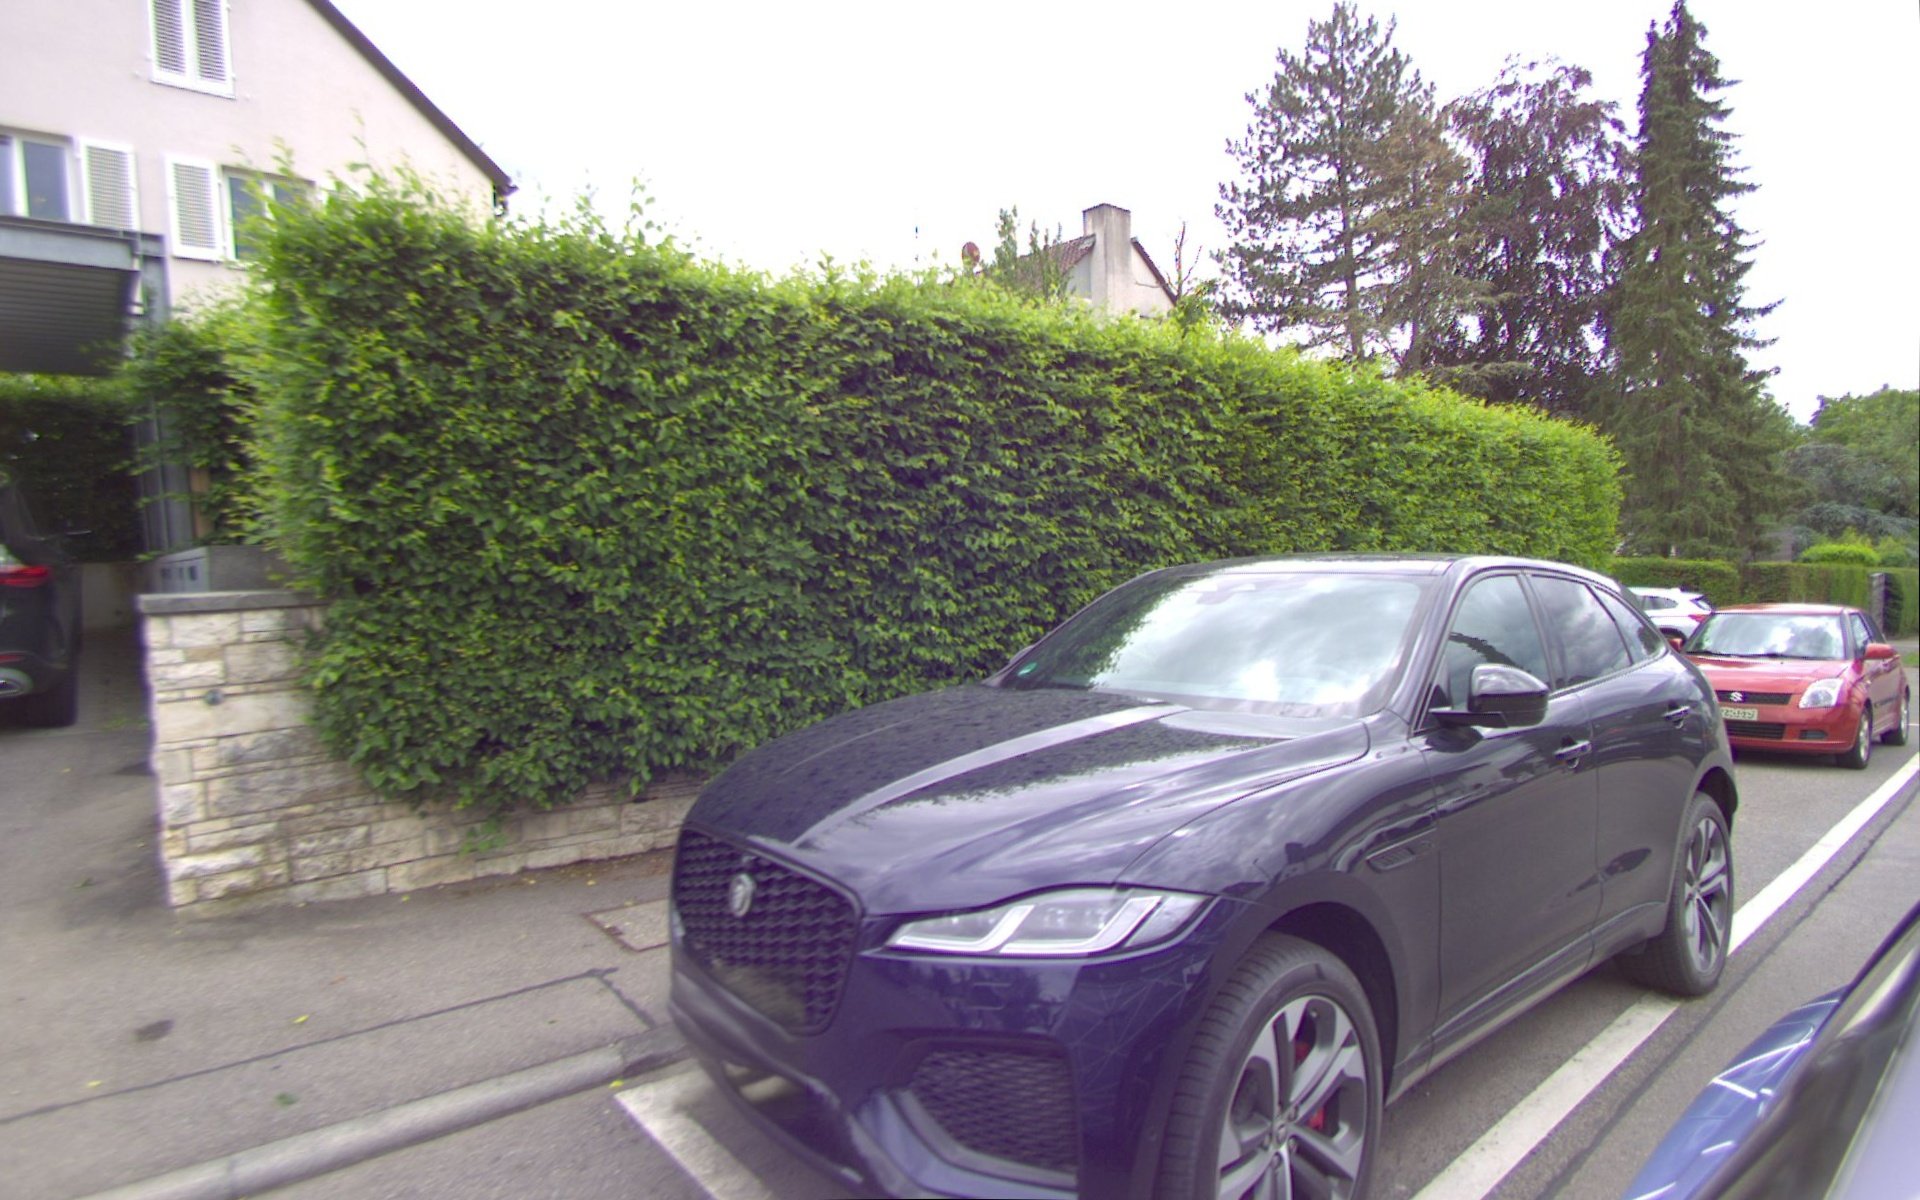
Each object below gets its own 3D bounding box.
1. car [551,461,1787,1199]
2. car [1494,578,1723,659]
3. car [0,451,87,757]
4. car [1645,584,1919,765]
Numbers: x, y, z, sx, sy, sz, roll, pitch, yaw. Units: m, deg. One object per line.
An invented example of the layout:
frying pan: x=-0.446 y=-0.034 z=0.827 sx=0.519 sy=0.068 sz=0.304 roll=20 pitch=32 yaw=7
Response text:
car: x=1.121 y=0.610 z=3.638 sx=4.432 sy=1.638 sz=1.998 roll=-1 pitch=-1 yaw=-39
car: x=14.785 y=0.350 z=23.198 sx=4.203 sy=1.619 sz=1.855 roll=2 pitch=2 yaw=41
car: x=-7.323 y=-0.199 z=7.009 sx=1.853 sy=1.668 sz=4.375 roll=0 pitch=7 yaw=-42
car: x=8.612 y=0.623 z=10.445 sx=3.693 sy=1.527 sz=1.664 roll=0 pitch=1 yaw=-41
